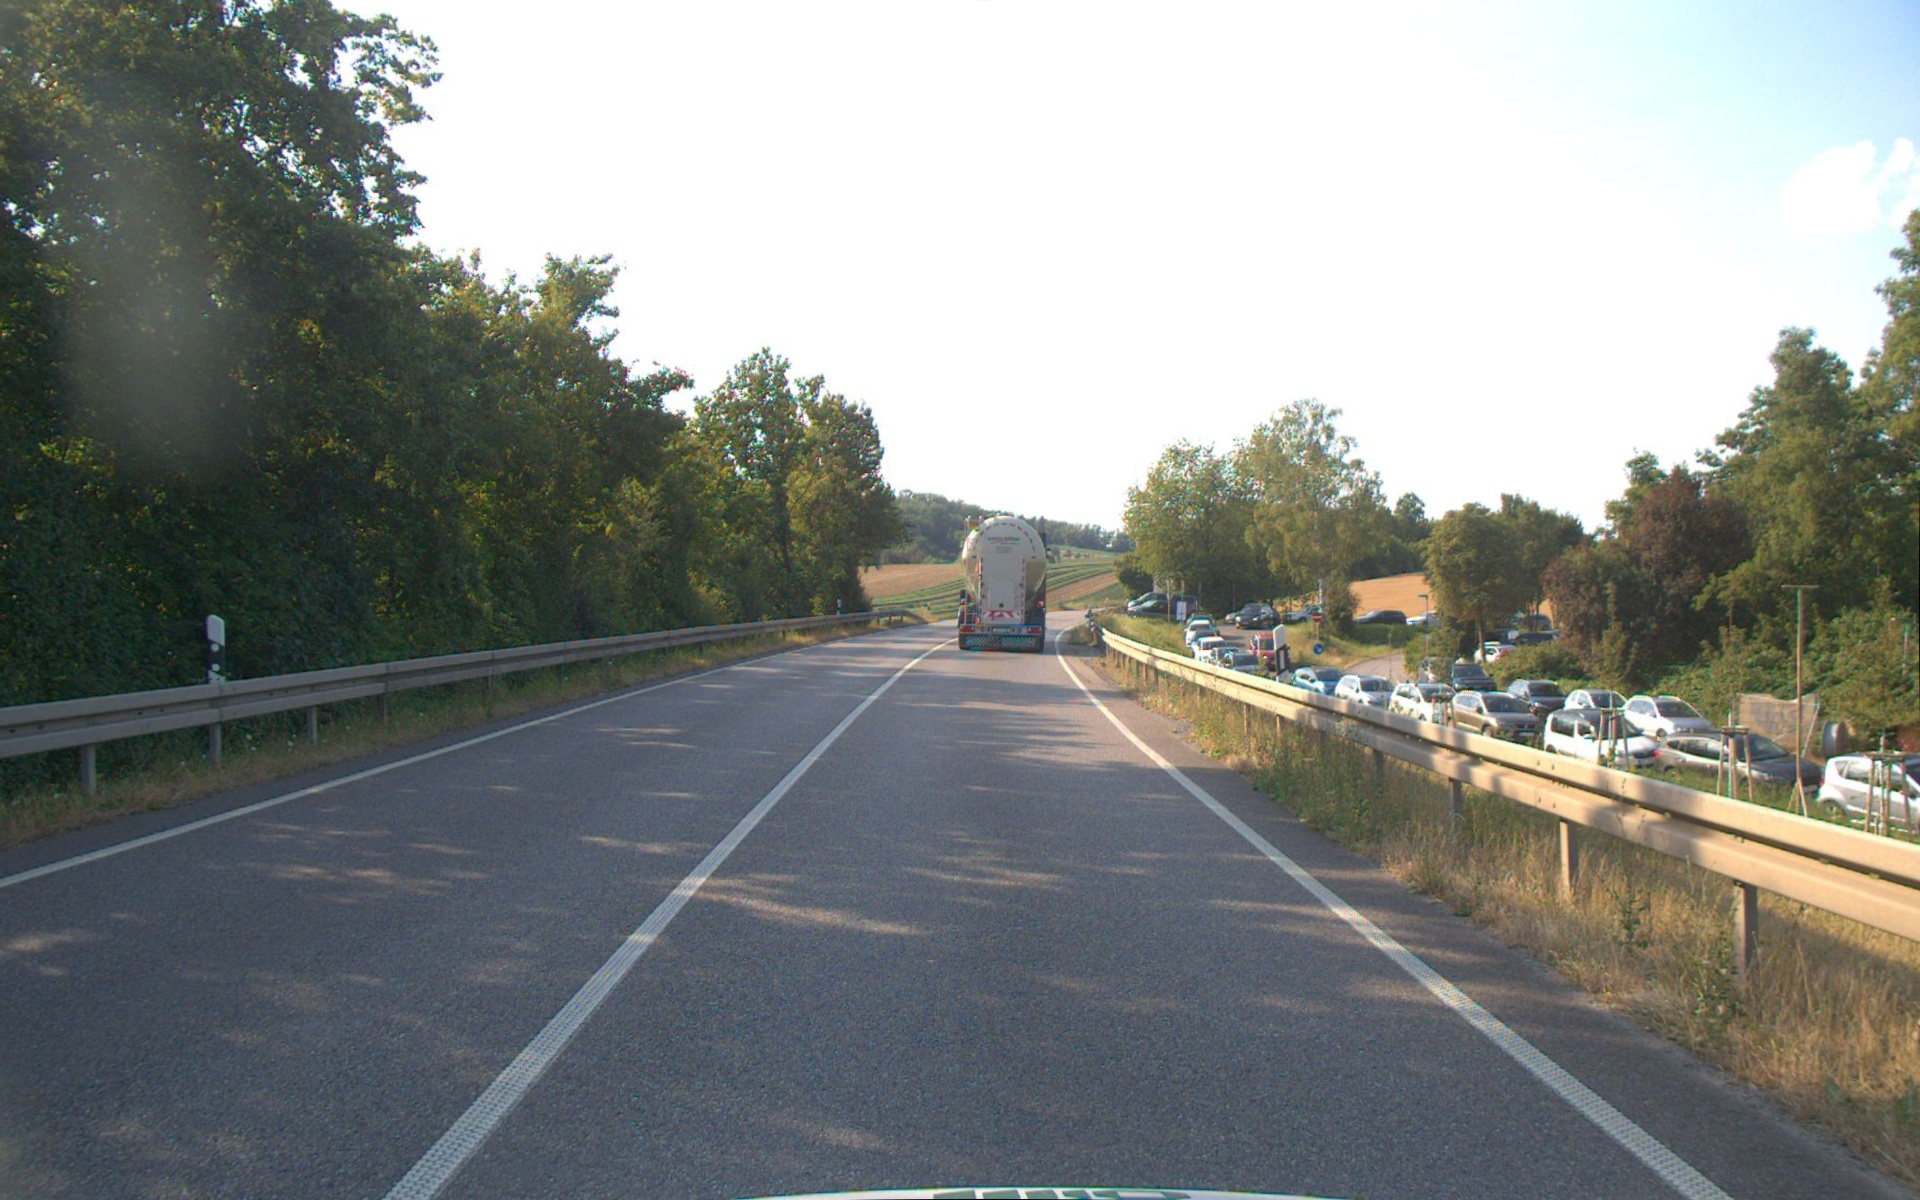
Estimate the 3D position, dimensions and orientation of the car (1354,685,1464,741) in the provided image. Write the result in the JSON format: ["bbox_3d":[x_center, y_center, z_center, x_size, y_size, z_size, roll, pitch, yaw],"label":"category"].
[{"bbox_3d":[16.257,4.066,60.117,1.859,1.586,4.767,0,1,-13],"label":"car"}]

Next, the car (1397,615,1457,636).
[{"bbox_3d":[37.492,2.075,132.716,4.575,1.533,1.982,2,0,-28],"label":"car"}]

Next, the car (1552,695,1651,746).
[{"bbox_3d":[22.288,4.151,57.628,1.667,1.423,3.942,-2,0,-4],"label":"car"}]

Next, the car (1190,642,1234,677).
[{"bbox_3d":[14.038,3.310,92.356,1.852,1.586,4.785,-3,2,2],"label":"car"}]

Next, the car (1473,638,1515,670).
[{"bbox_3d":[33.742,3.403,104.455,1.763,1.874,4.591,1,0,27],"label":"car"}]

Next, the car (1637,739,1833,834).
[{"bbox_3d":[19.075,4.550,40.990,1.859,1.586,4.767,-3,2,-13],"label":"car"}]

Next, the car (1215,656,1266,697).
[{"bbox_3d":[13.769,3.754,81.403,1.852,1.586,4.785,-3,2,2],"label":"car"}]

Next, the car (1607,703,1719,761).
[{"bbox_3d":[22.630,4.219,53.408,1.668,1.536,3.940,0,0,-6],"label":"car"}]

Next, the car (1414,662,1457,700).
[{"bbox_3d":[22.708,3.858,79.084,1.665,1.423,4.105,-2,2,12],"label":"car"}]

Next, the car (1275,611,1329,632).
[{"bbox_3d":[26.239,1.637,126.943,3.661,1.466,1.802,3,0,-18],"label":"car"}]

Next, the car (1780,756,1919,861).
[{"bbox_3d":[19.978,4.431,35.135,1.861,1.586,4.762,-3,2,-16],"label":"car"}]

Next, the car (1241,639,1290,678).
[{"bbox_3d":[16.800,3.212,91.154,1.852,1.716,5.088,-3,2,2],"label":"car"}]

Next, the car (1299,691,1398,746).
[{"bbox_3d":[15.192,4.608,64.885,1.859,1.586,4.767,-3,2,-13],"label":"car"}]

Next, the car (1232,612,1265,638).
[{"bbox_3d":[20.125,1.774,115.631,1.852,1.704,4.785,1,-1,5],"label":"car"}]

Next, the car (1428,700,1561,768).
[{"bbox_3d":[17.068,4.240,53.057,1.859,1.586,4.767,-3,2,-13],"label":"car"}]

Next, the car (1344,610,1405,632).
[{"bbox_3d":[32.648,1.654,130.232,4.575,1.533,1.982,2,0,-28],"label":"car"}]

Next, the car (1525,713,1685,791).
[{"bbox_3d":[18.210,4.250,46.927,1.859,1.586,4.767,-3,2,-13],"label":"car"}]

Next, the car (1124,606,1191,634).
[{"bbox_3d":[13.743,1.386,115.157,4.253,1.535,1.709,5,0,-23],"label":"car"}]

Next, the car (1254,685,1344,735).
[{"bbox_3d":[14.204,4.579,69.611,1.859,1.586,4.767,-3,2,-13],"label":"car"}]

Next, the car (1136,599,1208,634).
[{"bbox_3d":[15.564,1.196,121.526,5.033,1.976,1.976,6,1,6],"label":"car"}]

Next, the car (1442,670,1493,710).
[{"bbox_3d":[22.334,3.958,72.942,1.665,1.423,4.789,-2,0,12],"label":"car"}]

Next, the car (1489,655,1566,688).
[{"bbox_3d":[29.892,3.743,87.166,3.684,1.570,1.656,1,0,14],"label":"car"}]

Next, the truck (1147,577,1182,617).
[{"bbox_3d":[22.986,-0.357,185.226,3.115,4.301,13.184,0,1,10],"label":"truck"}]

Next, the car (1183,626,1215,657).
[{"bbox_3d":[15.006,2.607,103.677,1.851,1.586,4.787,-2,2,9],"label":"car"}]

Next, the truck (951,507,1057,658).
[{"bbox_3d":[1.203,-0.521,53.483,2.834,4.215,13.169,1,0,-1],"label":"truck"}]
